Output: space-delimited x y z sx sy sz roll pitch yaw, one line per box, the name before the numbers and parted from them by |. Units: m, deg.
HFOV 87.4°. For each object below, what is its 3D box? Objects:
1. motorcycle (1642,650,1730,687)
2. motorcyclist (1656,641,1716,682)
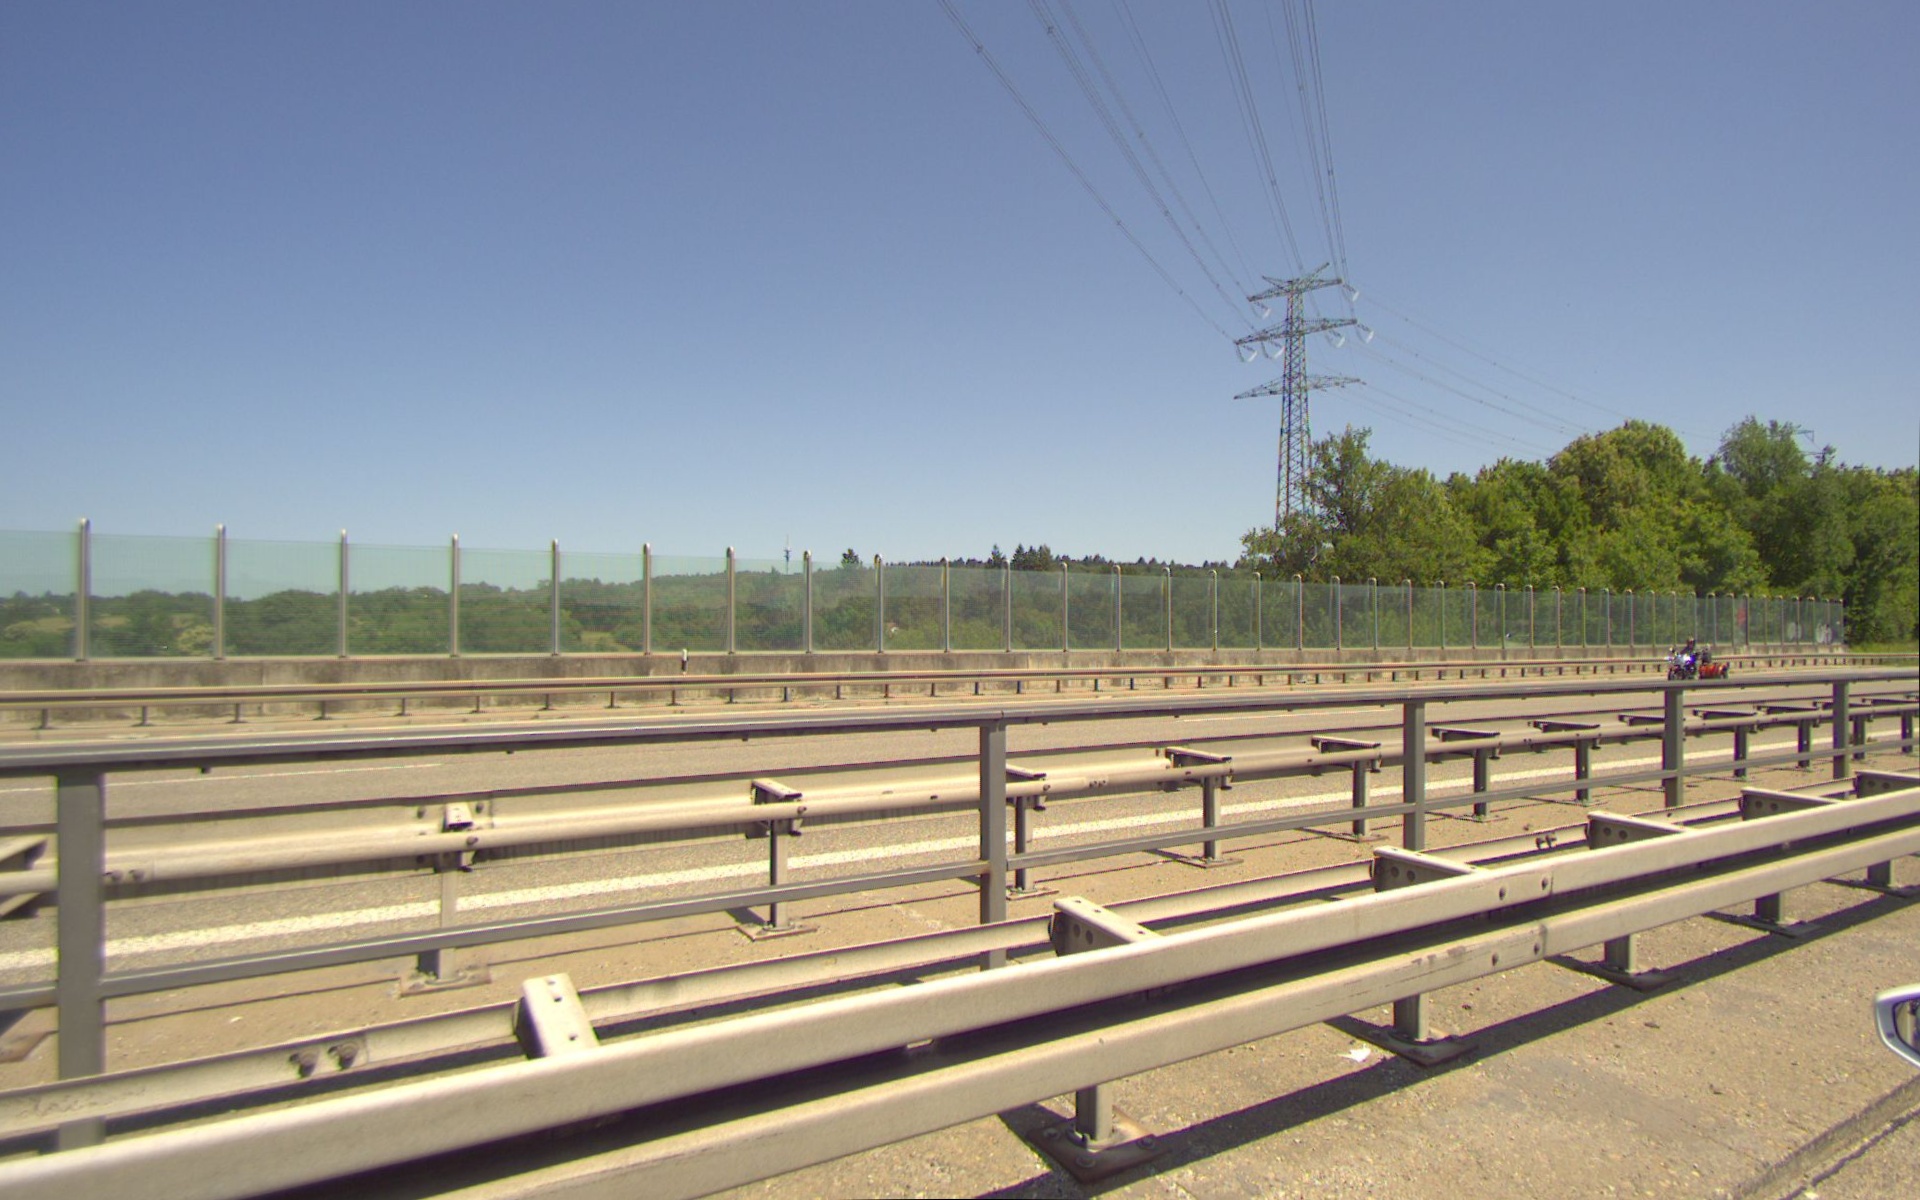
motorcycle | 23.216 2.173 32.122 2.546 1.113 1.360 1 -4 -30
motorcyclist | 23.169 1.962 32.078 1.106 1.273 1.181 1 -3 -30
